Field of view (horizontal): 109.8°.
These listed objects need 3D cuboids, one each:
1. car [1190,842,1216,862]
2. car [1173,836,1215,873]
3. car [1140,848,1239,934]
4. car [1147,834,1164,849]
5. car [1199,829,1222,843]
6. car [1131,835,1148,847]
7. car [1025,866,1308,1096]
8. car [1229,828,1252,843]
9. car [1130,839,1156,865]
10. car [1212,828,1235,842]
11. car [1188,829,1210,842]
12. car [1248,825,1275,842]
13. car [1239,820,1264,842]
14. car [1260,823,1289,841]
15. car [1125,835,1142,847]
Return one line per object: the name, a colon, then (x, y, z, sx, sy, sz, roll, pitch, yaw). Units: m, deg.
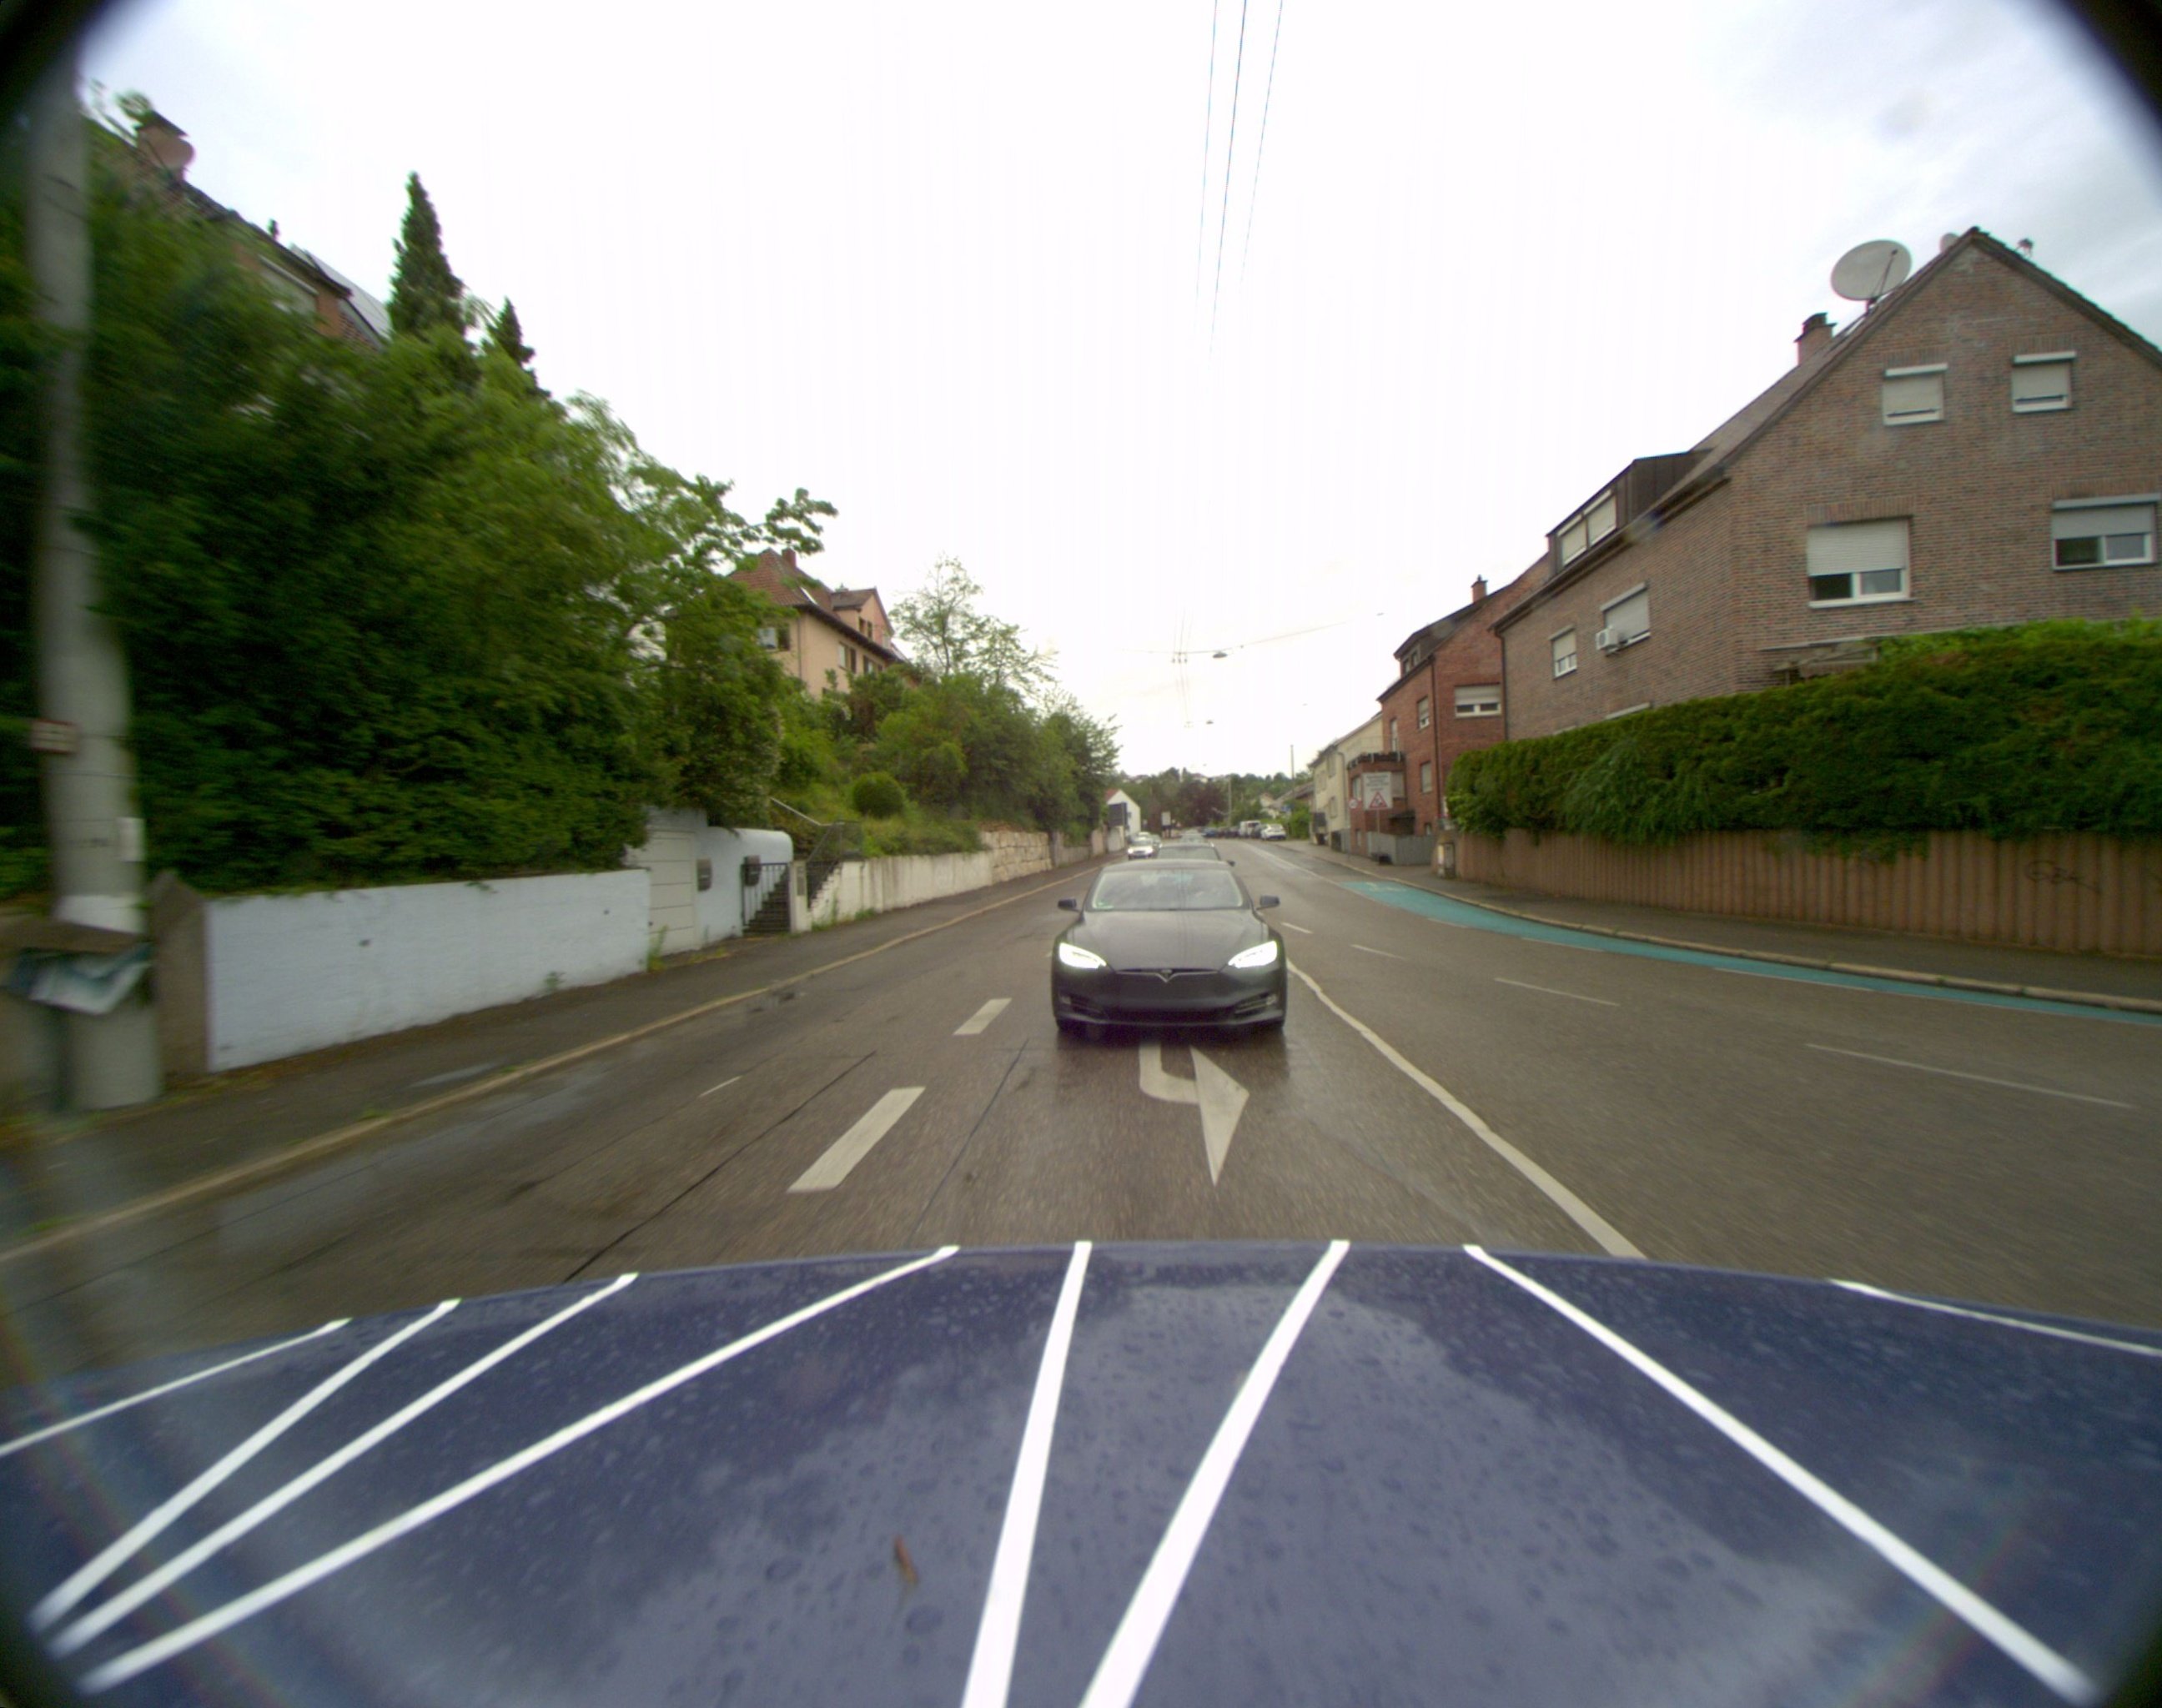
car: (9.497, -0.173, 59.517, 1.757, 1.451, 4.043, -1, 0, 5)
car: (5.351, 0.004, 36.490, 1.757, 1.640, 4.043, -1, 0, 5)
car: (2.257, 0.699, 16.752, 1.800, 1.600, 4.042, -2, 0, 4)
car: (7.509, -1.246, 76.766, 1.614, 1.391, 3.365, -3, 2, 3)
car: (18.132, -2.533, 106.403, 1.773, 1.749, 4.320, -2, 0, -9)
car: (7.141, -1.616, 92.764, 1.615, 1.391, 3.364, -3, 2, -1)
car: (0.738, 0.898, 7.249, 1.834, 1.384, 4.325, -2, 0, 5)
car: (19.852, -2.323, 94.911, 1.772, 1.749, 4.323, -2, 0, -2)
car: (4.036, -0.153, 48.891, 1.551, 1.443, 3.366, -2, 2, 6)
car: (18.934, -2.472, 100.981, 1.773, 1.749, 4.321, -2, 0, -6)
car: (17.212, -2.699, 111.314, 1.774, 1.749, 4.319, -2, 0, -11)
car: (19.375, -2.168, 81.872, 1.949, 1.600, 4.450, -2, 0, 2)
car: (20.053, -2.656, 89.358, 2.011, 2.442, 4.450, -2, 1, 2)
car: (19.155, -2.142, 75.377, 1.949, 1.600, 4.451, -2, 0, 5)
car: (6.792, -1.674, 98.378, 1.615, 1.391, 3.362, -3, 2, -6)
